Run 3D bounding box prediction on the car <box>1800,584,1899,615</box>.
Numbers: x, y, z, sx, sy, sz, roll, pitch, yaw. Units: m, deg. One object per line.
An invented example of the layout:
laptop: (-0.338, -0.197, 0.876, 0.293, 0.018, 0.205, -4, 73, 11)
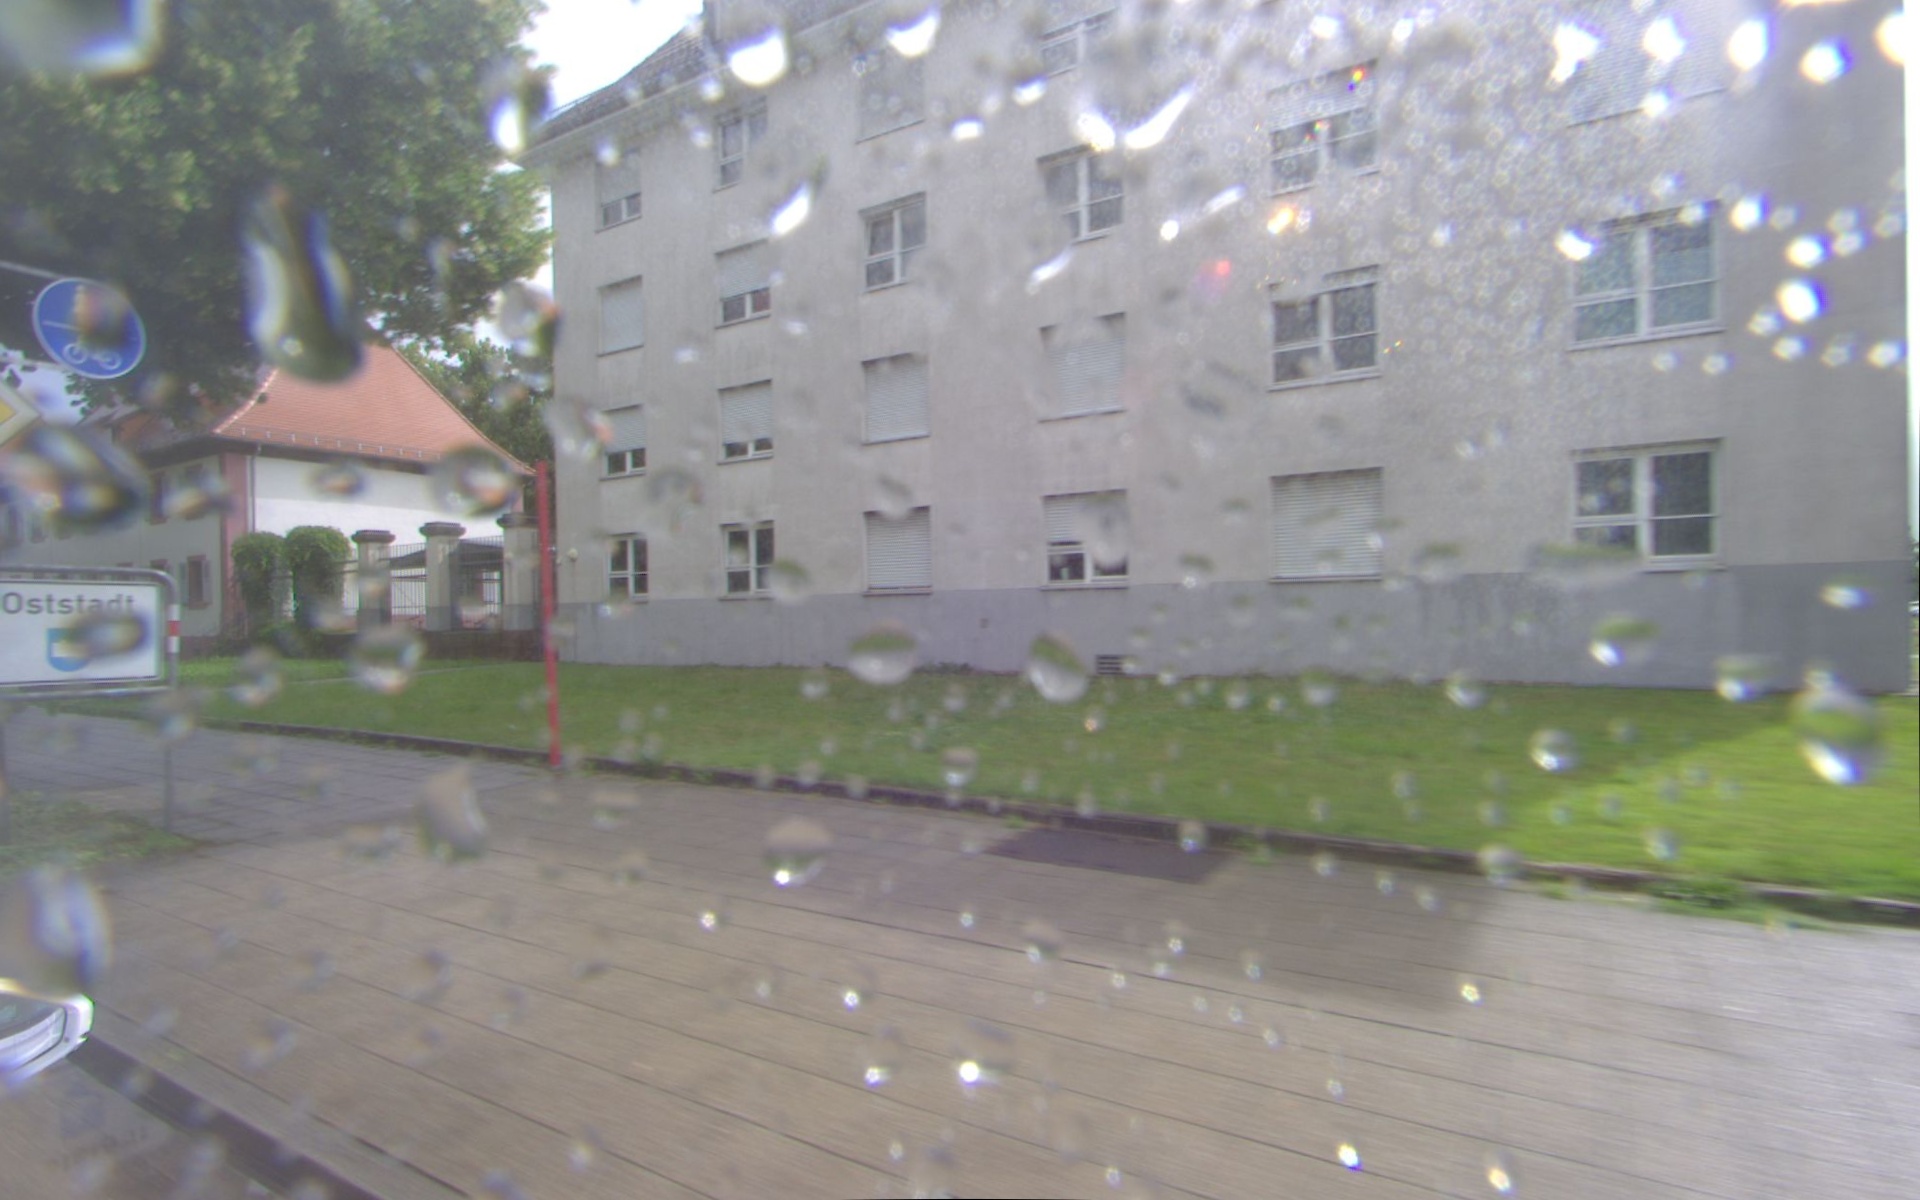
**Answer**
car: (56.108, -0.002, 63.268, 4.328, 1.874, 1.926, -1, 0, 32)
